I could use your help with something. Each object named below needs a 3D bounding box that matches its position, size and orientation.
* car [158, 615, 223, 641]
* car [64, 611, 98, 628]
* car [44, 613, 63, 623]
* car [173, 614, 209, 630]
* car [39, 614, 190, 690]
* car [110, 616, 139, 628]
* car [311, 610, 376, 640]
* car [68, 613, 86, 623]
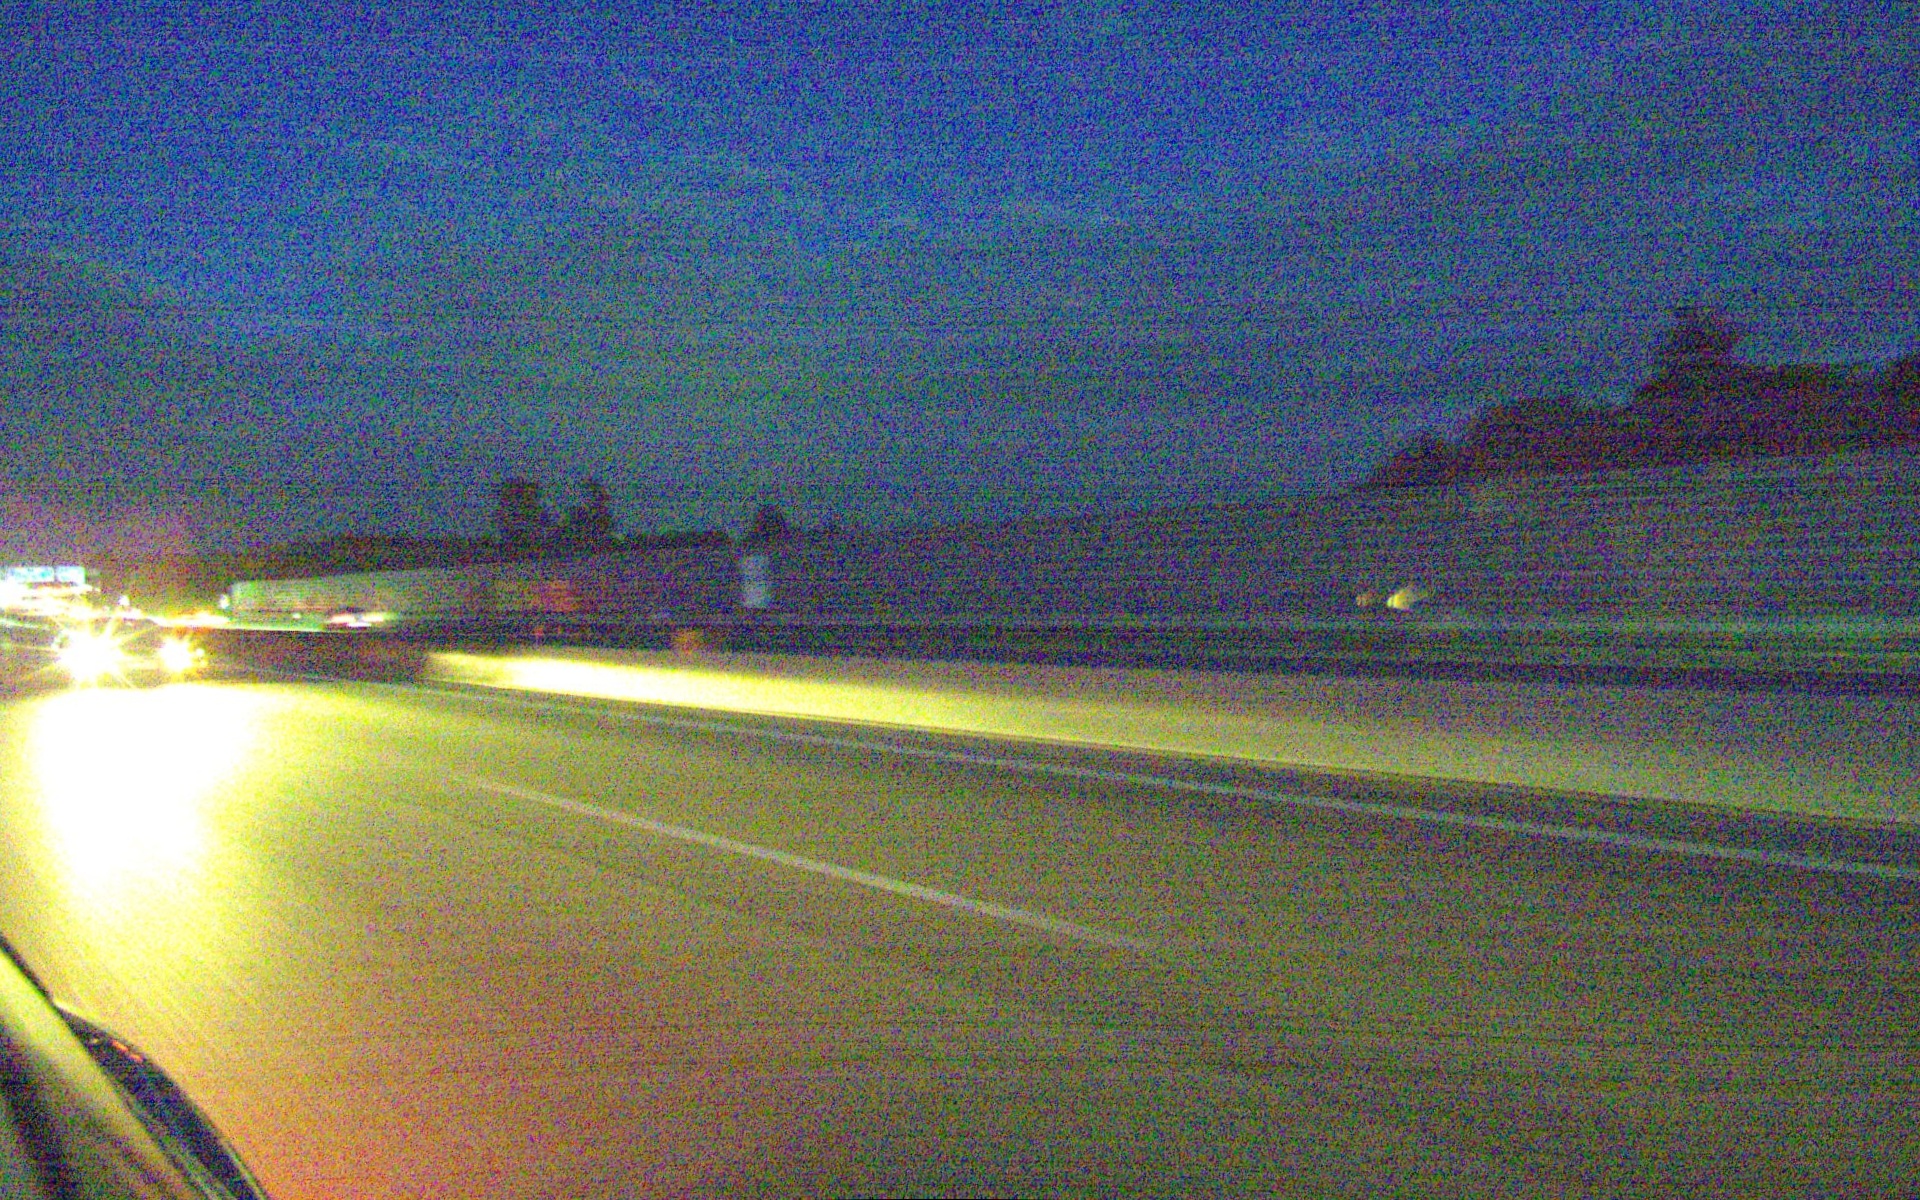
[{"bbox_3d":[-49.730,1.785,65.381,5.109,1.567,2.532,-1,0,43],"label":"car"},{"bbox_3d":[-89.197,1.964,102.634,5.109,1.567,2.096,-1,0,43],"label":"car"},{"bbox_3d":[-149.177,2.900,166.531,2.094,1.567,5.112,0,0,-45],"label":"car"},{"bbox_3d":[-78.197,2.209,102.869,5.109,1.567,2.096,-1,0,43],"label":"car"},{"bbox_3d":[-19.686,1.206,23.465,5.650,1.530,1.972,-4,-2,43],"label":"car"},{"bbox_3d":[-104.873,2.724,126.989,5.243,1.492,2.160,-1,0,43],"label":"car"},{"bbox_3d":[-39.249,1.577,64.371,5.941,1.795,2.031,-1,0,43],"label":"car"},{"bbox_3d":[-155.451,3.164,178.149,5.111,1.567,2.095,-1,0,44],"label":"car"}]
